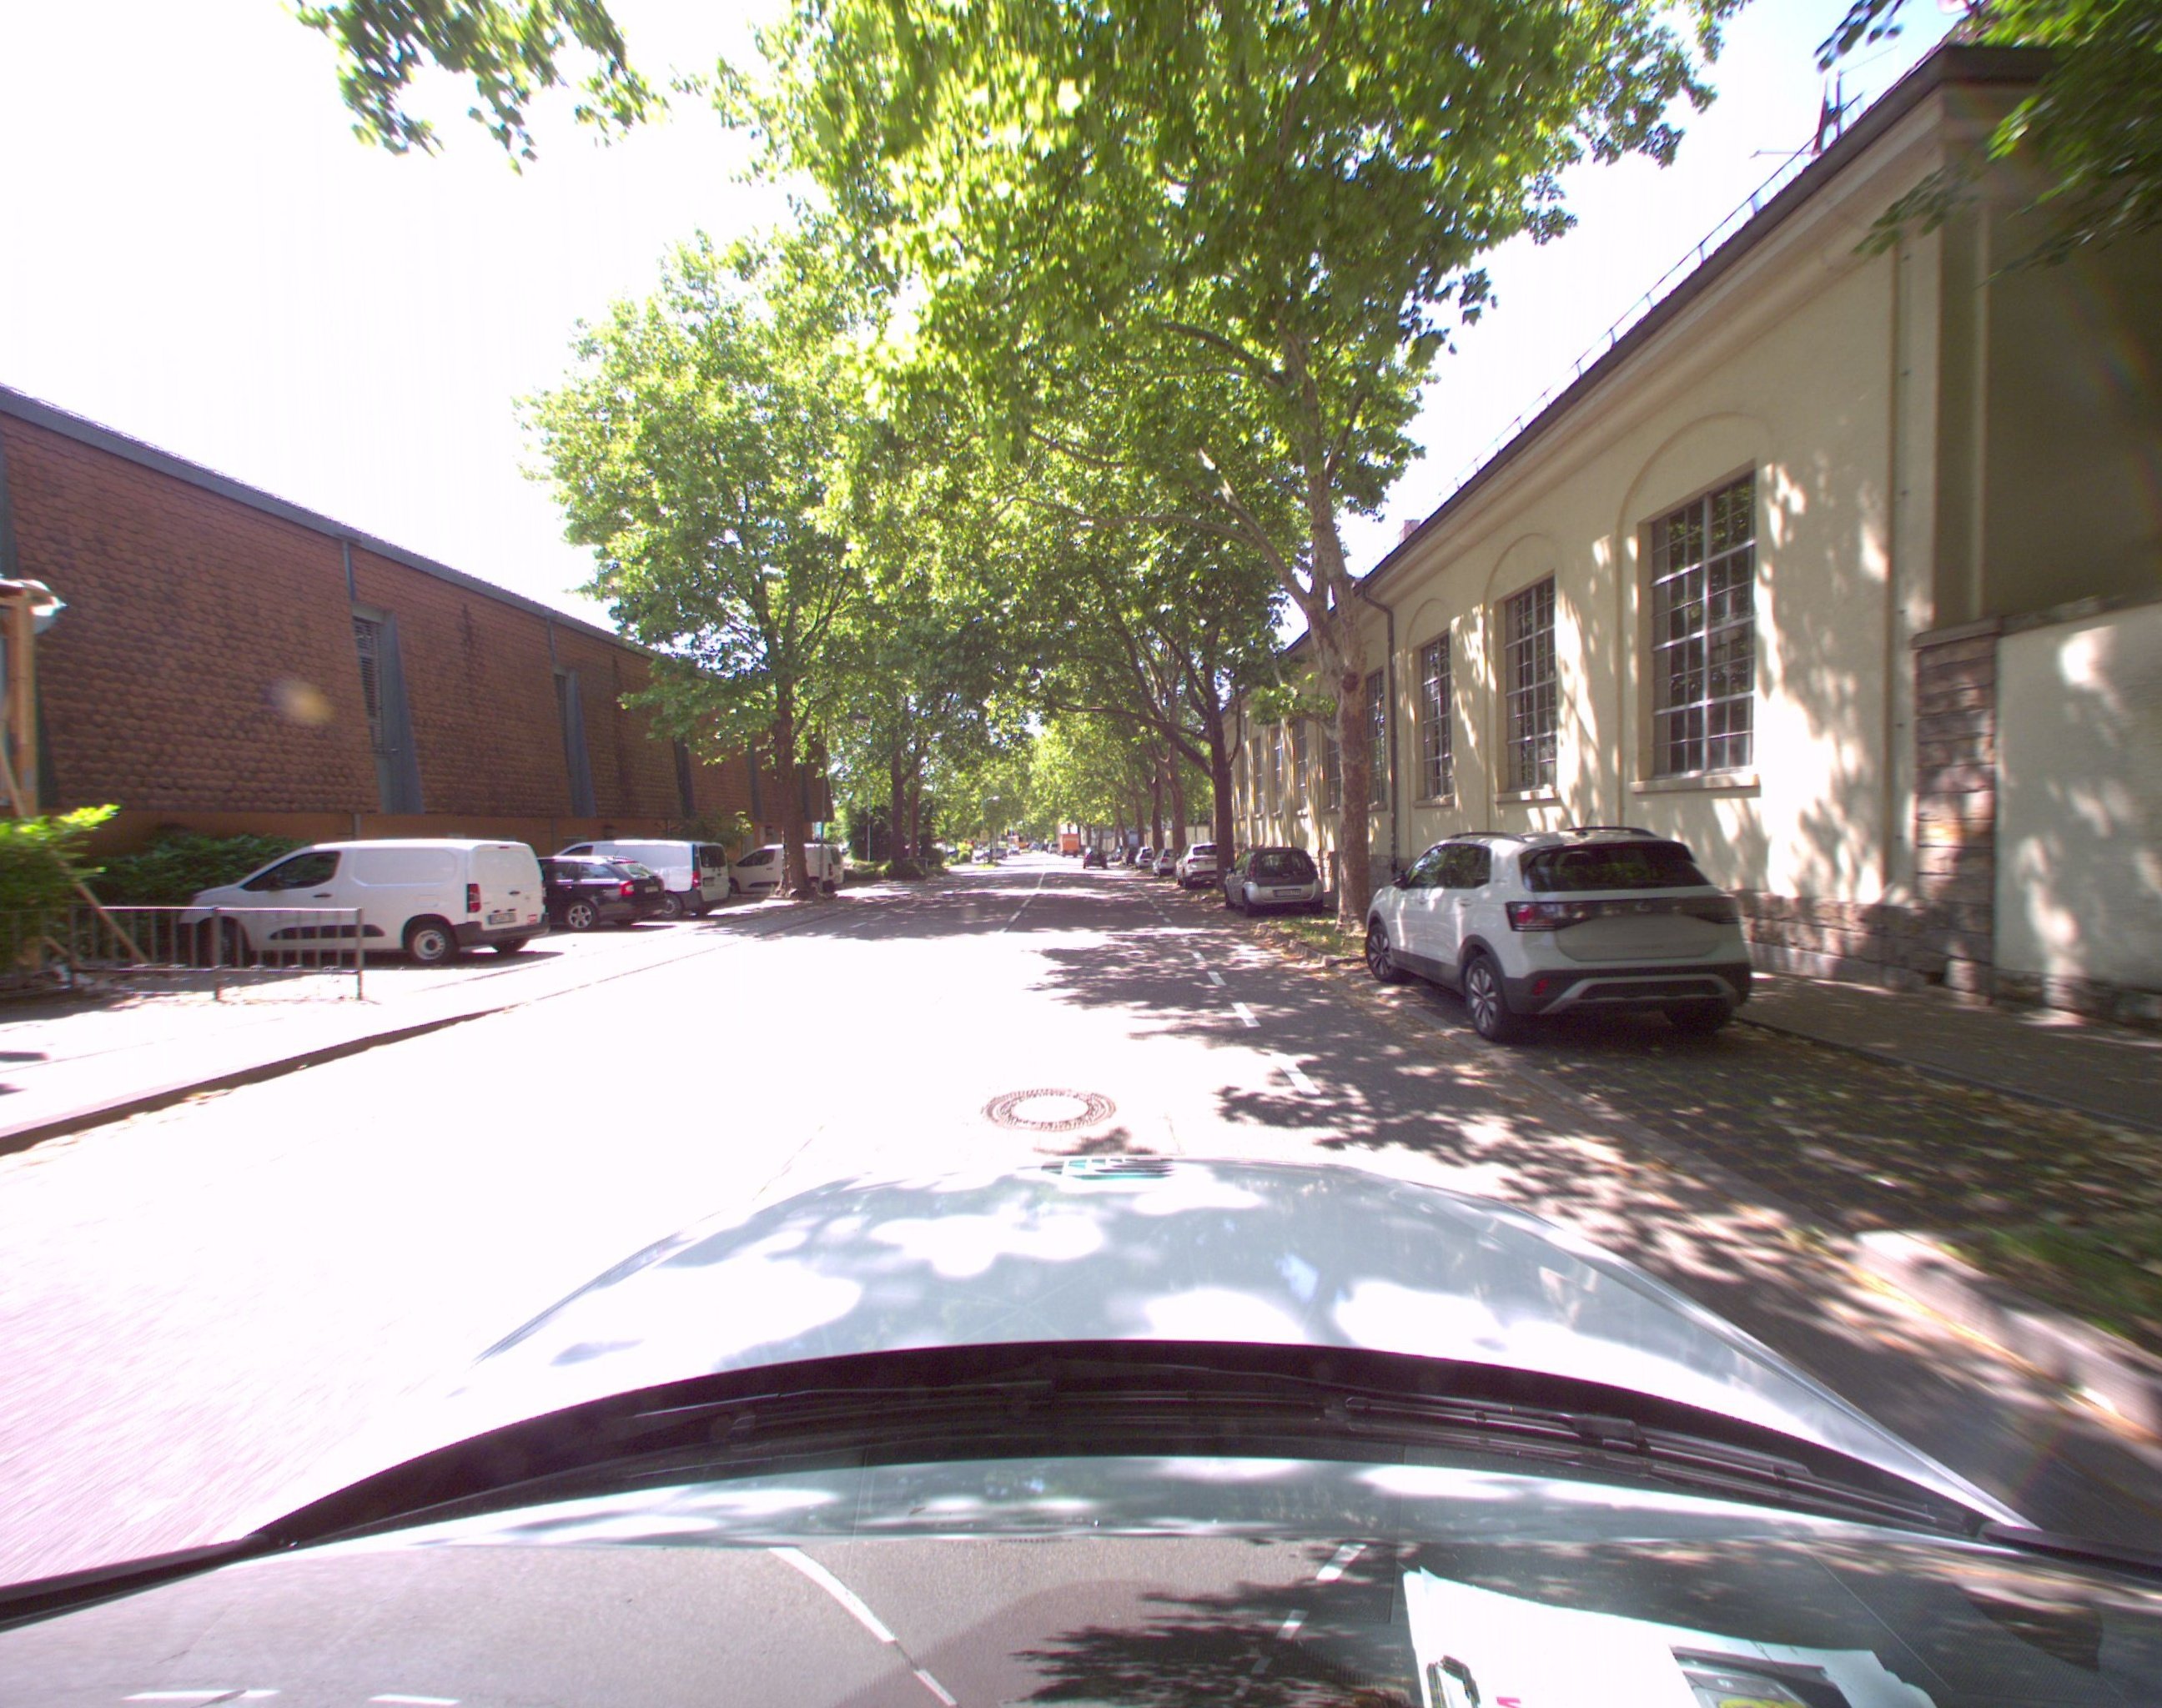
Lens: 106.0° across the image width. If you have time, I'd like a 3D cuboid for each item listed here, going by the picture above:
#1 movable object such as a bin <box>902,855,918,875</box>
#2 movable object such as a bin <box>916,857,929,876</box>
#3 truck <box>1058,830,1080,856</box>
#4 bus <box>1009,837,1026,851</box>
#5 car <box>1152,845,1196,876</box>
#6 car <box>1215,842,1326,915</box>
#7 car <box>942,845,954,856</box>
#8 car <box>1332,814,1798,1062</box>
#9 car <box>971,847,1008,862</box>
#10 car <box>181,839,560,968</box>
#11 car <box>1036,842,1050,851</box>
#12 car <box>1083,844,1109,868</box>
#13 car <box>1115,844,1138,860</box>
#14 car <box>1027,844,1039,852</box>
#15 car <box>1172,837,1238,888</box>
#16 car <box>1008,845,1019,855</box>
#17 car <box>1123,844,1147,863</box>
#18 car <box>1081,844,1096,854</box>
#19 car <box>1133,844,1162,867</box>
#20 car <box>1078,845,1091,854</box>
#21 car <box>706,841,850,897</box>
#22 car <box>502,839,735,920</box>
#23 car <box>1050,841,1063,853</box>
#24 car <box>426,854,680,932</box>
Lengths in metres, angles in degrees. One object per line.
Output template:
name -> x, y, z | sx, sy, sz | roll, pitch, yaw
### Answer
movable object such as a bin -> -9.596, 0.630, 45.722 | 0.732, 1.078, 0.701 | -1, 0, 0
movable object such as a bin -> -8.902, 0.679, 45.747 | 0.621, 1.048, 0.620 | -1, 0, 1
truck -> -1.620, -1.413, 106.889 | 2.367, 3.134, 5.758 | -1, -1, -5
bus -> -14.876, -2.301, 189.534 | 2.665, 3.150, 11.153 | -2, 0, -11
car -> 4.709, 0.290, 41.638 | 1.761, 1.433, 3.874 | -3, 0, 0
car -> 4.337, 0.494, 19.264 | 1.615, 1.439, 4.434 | -3, 0, 1
car -> -25.158, -0.665, 153.616 | 1.995, 2.014, 3.984 | -1, -1, -12
car -> 3.945, 0.516, 7.793 | 1.734, 1.557, 4.783 | -3, 1, 3
car -> -10.730, 0.030, 95.829 | 1.974, 1.666, 4.025 | -2, -1, 37
car -> -10.467, 0.689, 12.273 | 3.976, 1.792, 1.867 | 0, 0, -2
car -> -6.789, -1.322, 144.670 | 1.768, 1.374, 3.714 | -3, 0, -12
car -> 1.046, 0.107, 58.161 | 1.706, 1.447, 4.058 | -2, 2, 0
car -> 4.321, -0.212, 78.391 | 1.763, 1.374, 3.725 | -3, 0, -4
car -> -9.439, -1.185, 159.970 | 1.767, 1.374, 3.715 | -3, 0, -11
car -> 4.643, 0.277, 31.017 | 1.801, 1.689, 4.753 | -3, 0, 1
car -> -10.817, -0.646, 130.674 | 1.707, 1.447, 4.054 | -2, 0, -3
car -> 4.524, -0.019, 68.748 | 1.761, 1.465, 3.874 | -3, 0, 0
car -> 1.034, -0.657, 114.597 | 1.763, 1.374, 3.725 | -1, 0, -4
car -> 4.573, 0.107, 56.262 | 1.572, 1.465, 3.874 | -3, 0, 0
car -> 0.502, -0.732, 126.800 | 1.763, 1.374, 3.725 | -3, 0, -4
car -> -10.149, 0.491, 27.531 | 4.118, 1.804, 1.902 | 0, 0, -2
car -> -10.857, 0.579, 19.379 | 4.412, 1.804, 1.902 | 0, 0, -2
car -> -3.901, -1.109, 129.953 | 1.875, 1.685, 3.994 | -1, -1, -4
car -> -10.776, 0.774, 16.861 | 3.976, 1.515, 1.867 | 0, 0, -2
